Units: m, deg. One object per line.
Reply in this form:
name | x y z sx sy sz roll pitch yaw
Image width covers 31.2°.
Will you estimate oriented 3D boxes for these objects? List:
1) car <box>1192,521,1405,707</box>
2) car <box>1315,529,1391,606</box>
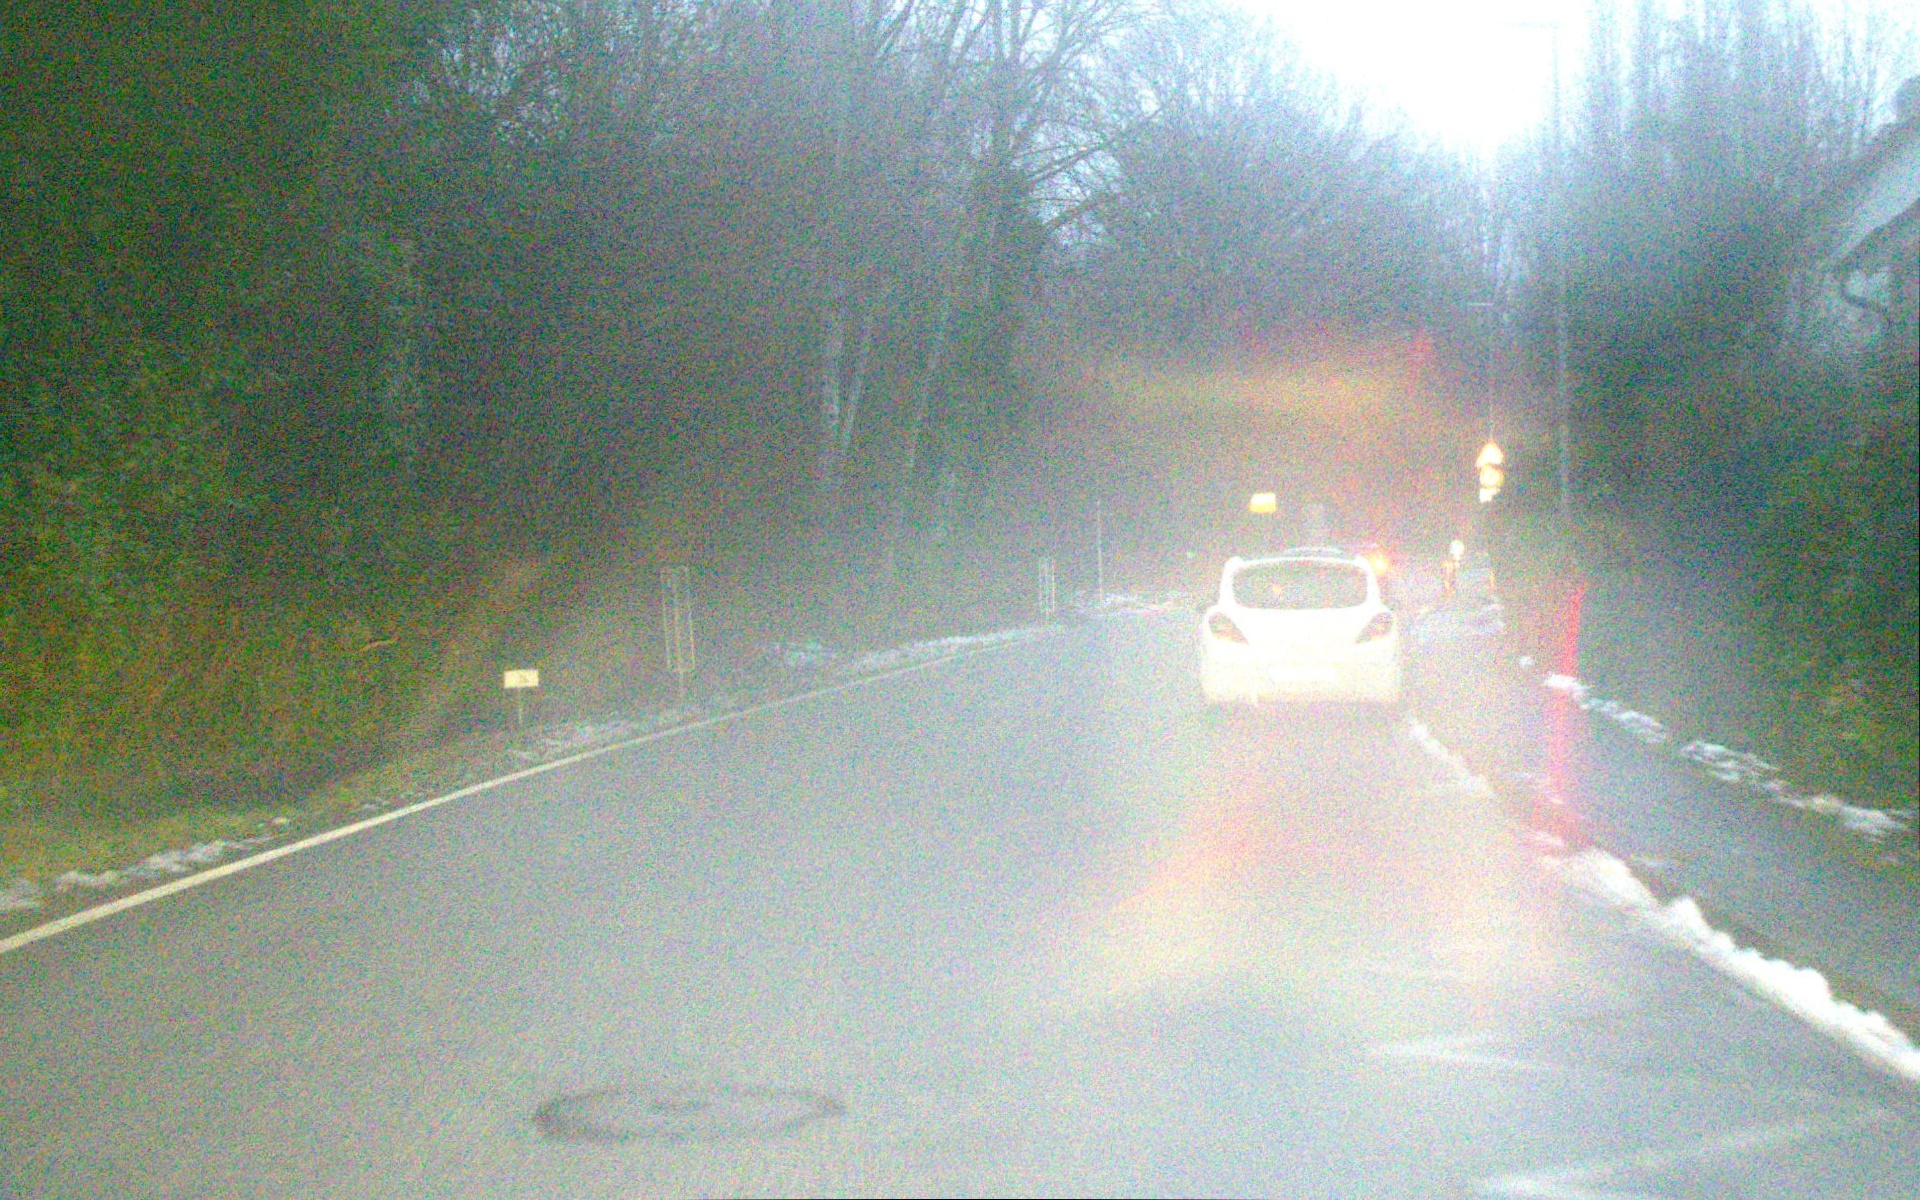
car | 2.876 0.098 29.895 1.704 1.501 4.024 0 0 4
car | 9.406 -0.796 82.144 1.690 1.768 3.859 -1 1 8
